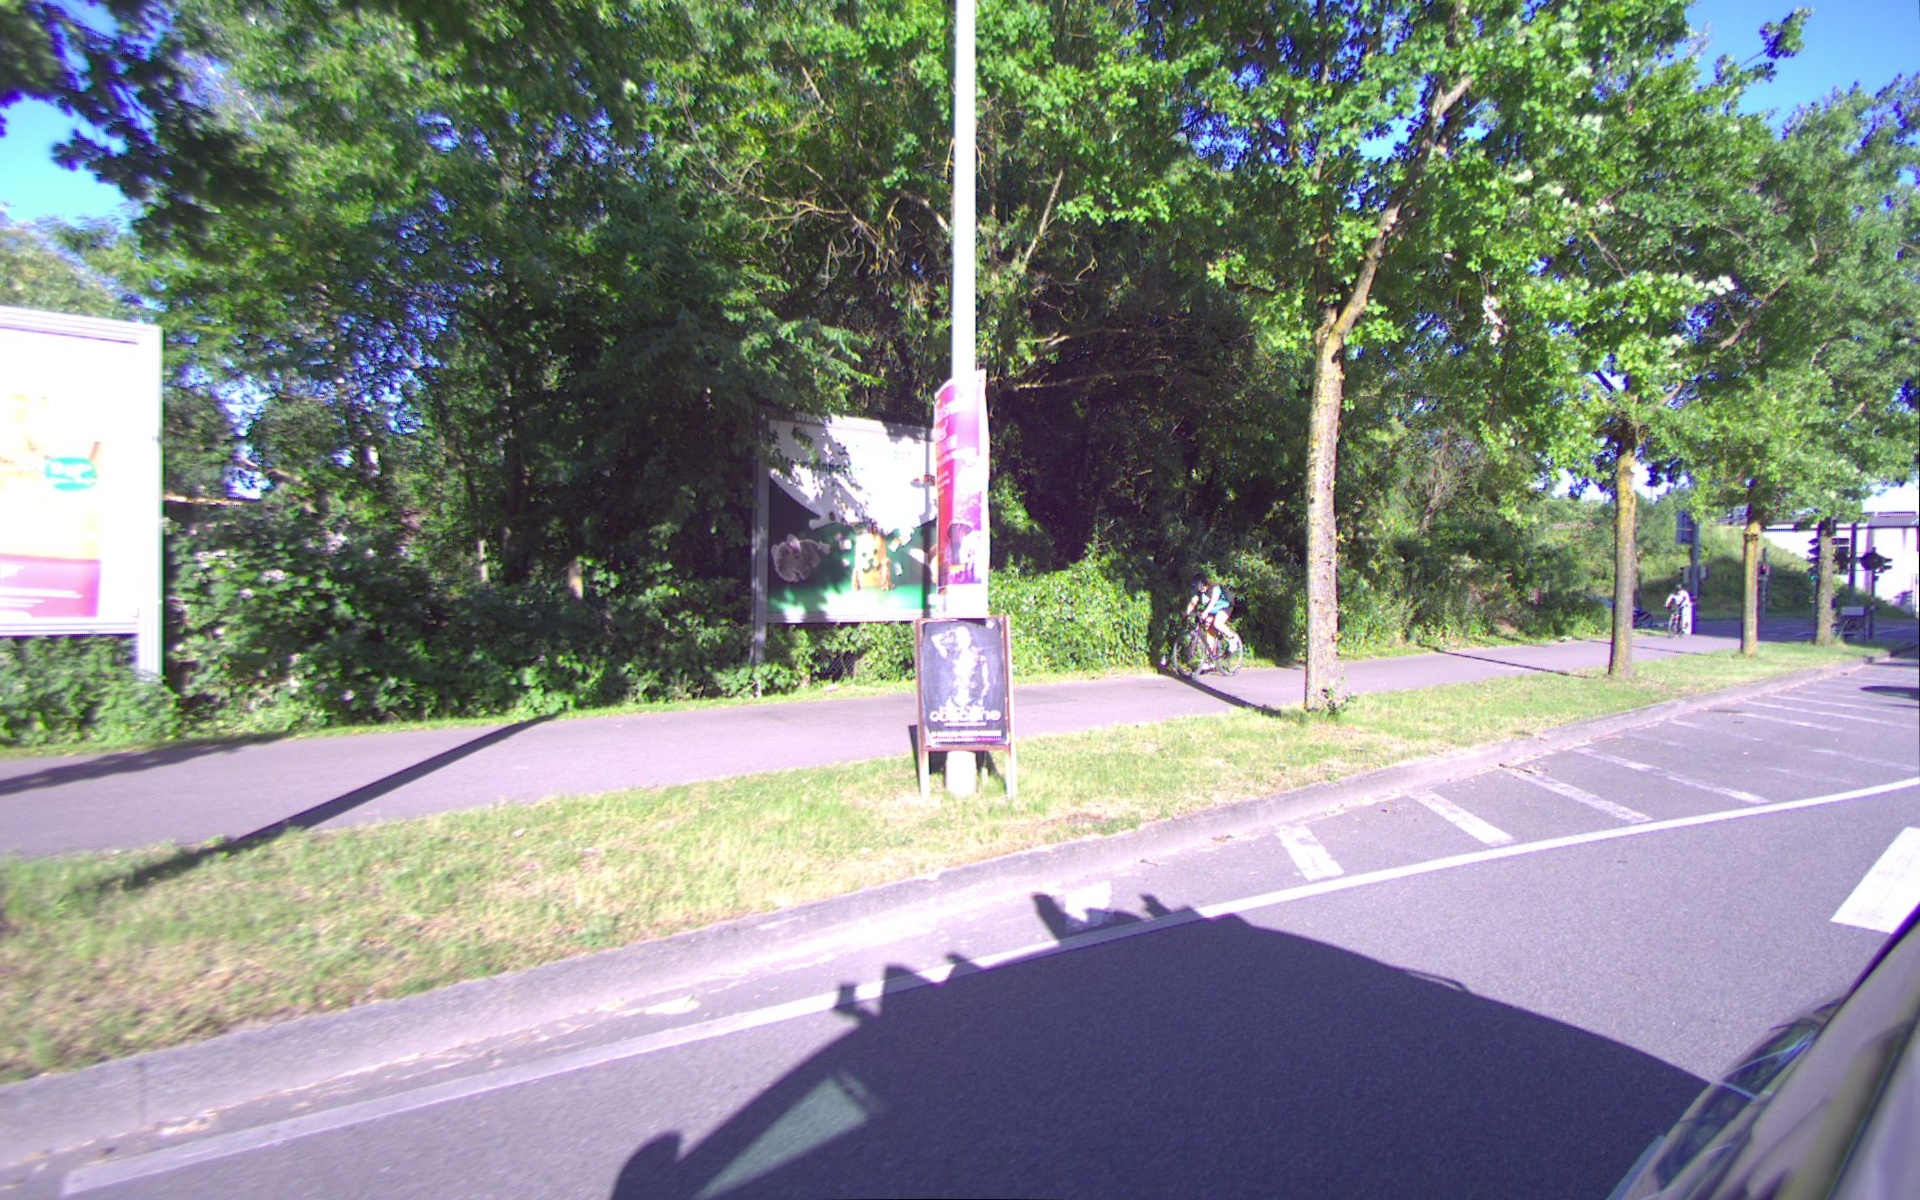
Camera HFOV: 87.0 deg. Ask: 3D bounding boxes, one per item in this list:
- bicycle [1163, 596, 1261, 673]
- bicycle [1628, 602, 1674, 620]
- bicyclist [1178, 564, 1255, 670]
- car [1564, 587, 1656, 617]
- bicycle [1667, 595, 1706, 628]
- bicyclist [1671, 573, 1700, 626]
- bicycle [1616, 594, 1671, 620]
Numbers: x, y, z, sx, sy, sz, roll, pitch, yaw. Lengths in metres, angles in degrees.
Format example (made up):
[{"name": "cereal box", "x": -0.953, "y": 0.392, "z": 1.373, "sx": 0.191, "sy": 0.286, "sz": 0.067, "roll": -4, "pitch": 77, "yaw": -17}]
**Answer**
[{"name": "bicycle", "x": 3.843, "y": 0.491, "z": 15.339, "sx": 1.904, "sy": 1.086, "sz": 0.516, "roll": -1, "pitch": 2, "yaw": -45}, {"name": "bicycle", "x": 28.714, "y": 0.445, "z": 42.090, "sx": 0.830, "sy": 0.629, "sz": 2.186, "roll": 3, "pitch": 2, "yaw": 14}, {"name": "bicyclist", "x": 3.887, "y": 0.236, "z": 15.329, "sx": 1.019, "sy": 1.541, "sz": 0.685, "roll": 0, "pitch": 1, "yaw": -44}, {"name": "car", "x": 36.519, "y": 0.064, "z": 56.932, "sx": 1.782, "sy": 1.493, "sz": 4.000, "roll": -2, "pitch": 3, "yaw": -35}, {"name": "bicycle", "x": 23.063, "y": 0.368, "z": 32.134, "sx": 2.011, "sy": 1.004, "sz": 0.572, "roll": 0, "pitch": 1, "yaw": -42}, {"name": "bicyclist", "x": 22.872, "y": -0.028, "z": 31.901, "sx": 0.850, "sy": 1.630, "sz": 0.566, "roll": 0, "pitch": 1, "yaw": -42}, {"name": "bicycle", "x": 29.852, "y": 0.291, "z": 44.240, "sx": 0.445, "sy": 1.066, "sz": 1.999, "roll": 0, "pitch": 1, "yaw": -28}]
